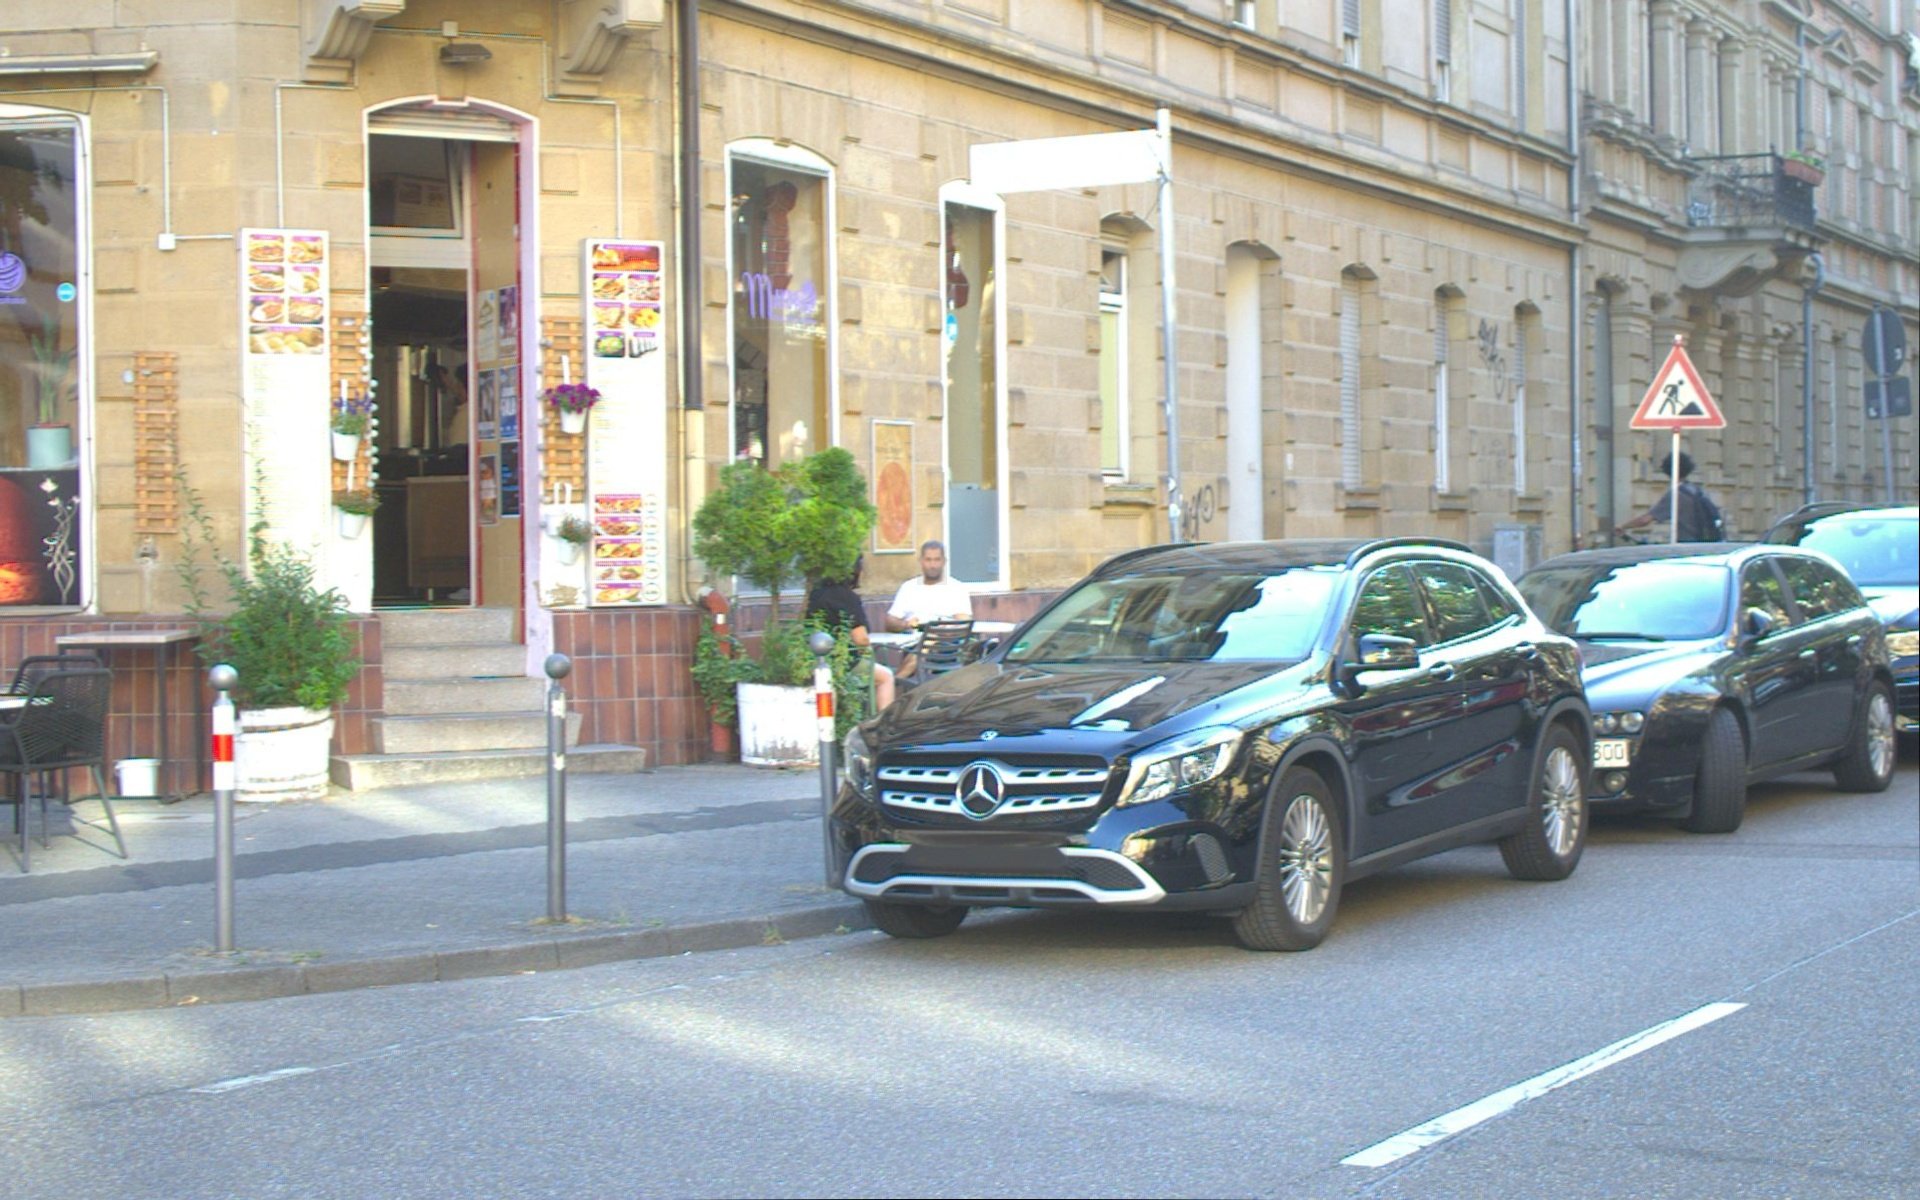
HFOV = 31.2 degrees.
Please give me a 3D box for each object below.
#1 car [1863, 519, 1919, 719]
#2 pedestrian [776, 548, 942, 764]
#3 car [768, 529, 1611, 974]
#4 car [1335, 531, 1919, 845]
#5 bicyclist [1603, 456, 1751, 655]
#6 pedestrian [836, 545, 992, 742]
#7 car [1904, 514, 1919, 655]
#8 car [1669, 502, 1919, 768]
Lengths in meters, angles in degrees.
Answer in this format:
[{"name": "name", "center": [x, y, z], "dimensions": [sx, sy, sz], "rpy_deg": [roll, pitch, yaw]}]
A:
[{"name": "car", "center": [8.611, 0.073, 27.490], "dimensions": [1.761, 1.496, 4.054], "rpy_deg": [-1, 1, 28]}, {"name": "pedestrian", "center": [-0.599, 0.324, 20.612], "dimensions": [0.726, 1.254, 0.756], "rpy_deg": [0, 1, 23]}, {"name": "car", "center": [1.097, 0.493, 13.885], "dimensions": [1.761, 1.482, 4.132], "rpy_deg": [-1, 1, 29]}, {"name": "car", "center": [3.787, 0.390, 18.572], "dimensions": [1.761, 1.447, 4.543], "rpy_deg": [-1, 1, 31]}, {"name": "bicyclist", "center": [6.627, -0.408, 31.733], "dimensions": [0.997, 1.784, 1.205], "rpy_deg": [-1, 0, 29]}, {"name": "pedestrian", "center": [-0.288, 0.264, 21.738], "dimensions": [0.726, 1.209, 0.756], "rpy_deg": [0, 1, 23]}, {"name": "car", "center": [11.786, -0.244, 38.002], "dimensions": [1.761, 1.496, 4.054], "rpy_deg": [-1, 1, 27]}, {"name": "car", "center": [6.305, 0.147, 22.908], "dimensions": [1.761, 1.594, 4.543], "rpy_deg": [-1, 1, 29]}]
